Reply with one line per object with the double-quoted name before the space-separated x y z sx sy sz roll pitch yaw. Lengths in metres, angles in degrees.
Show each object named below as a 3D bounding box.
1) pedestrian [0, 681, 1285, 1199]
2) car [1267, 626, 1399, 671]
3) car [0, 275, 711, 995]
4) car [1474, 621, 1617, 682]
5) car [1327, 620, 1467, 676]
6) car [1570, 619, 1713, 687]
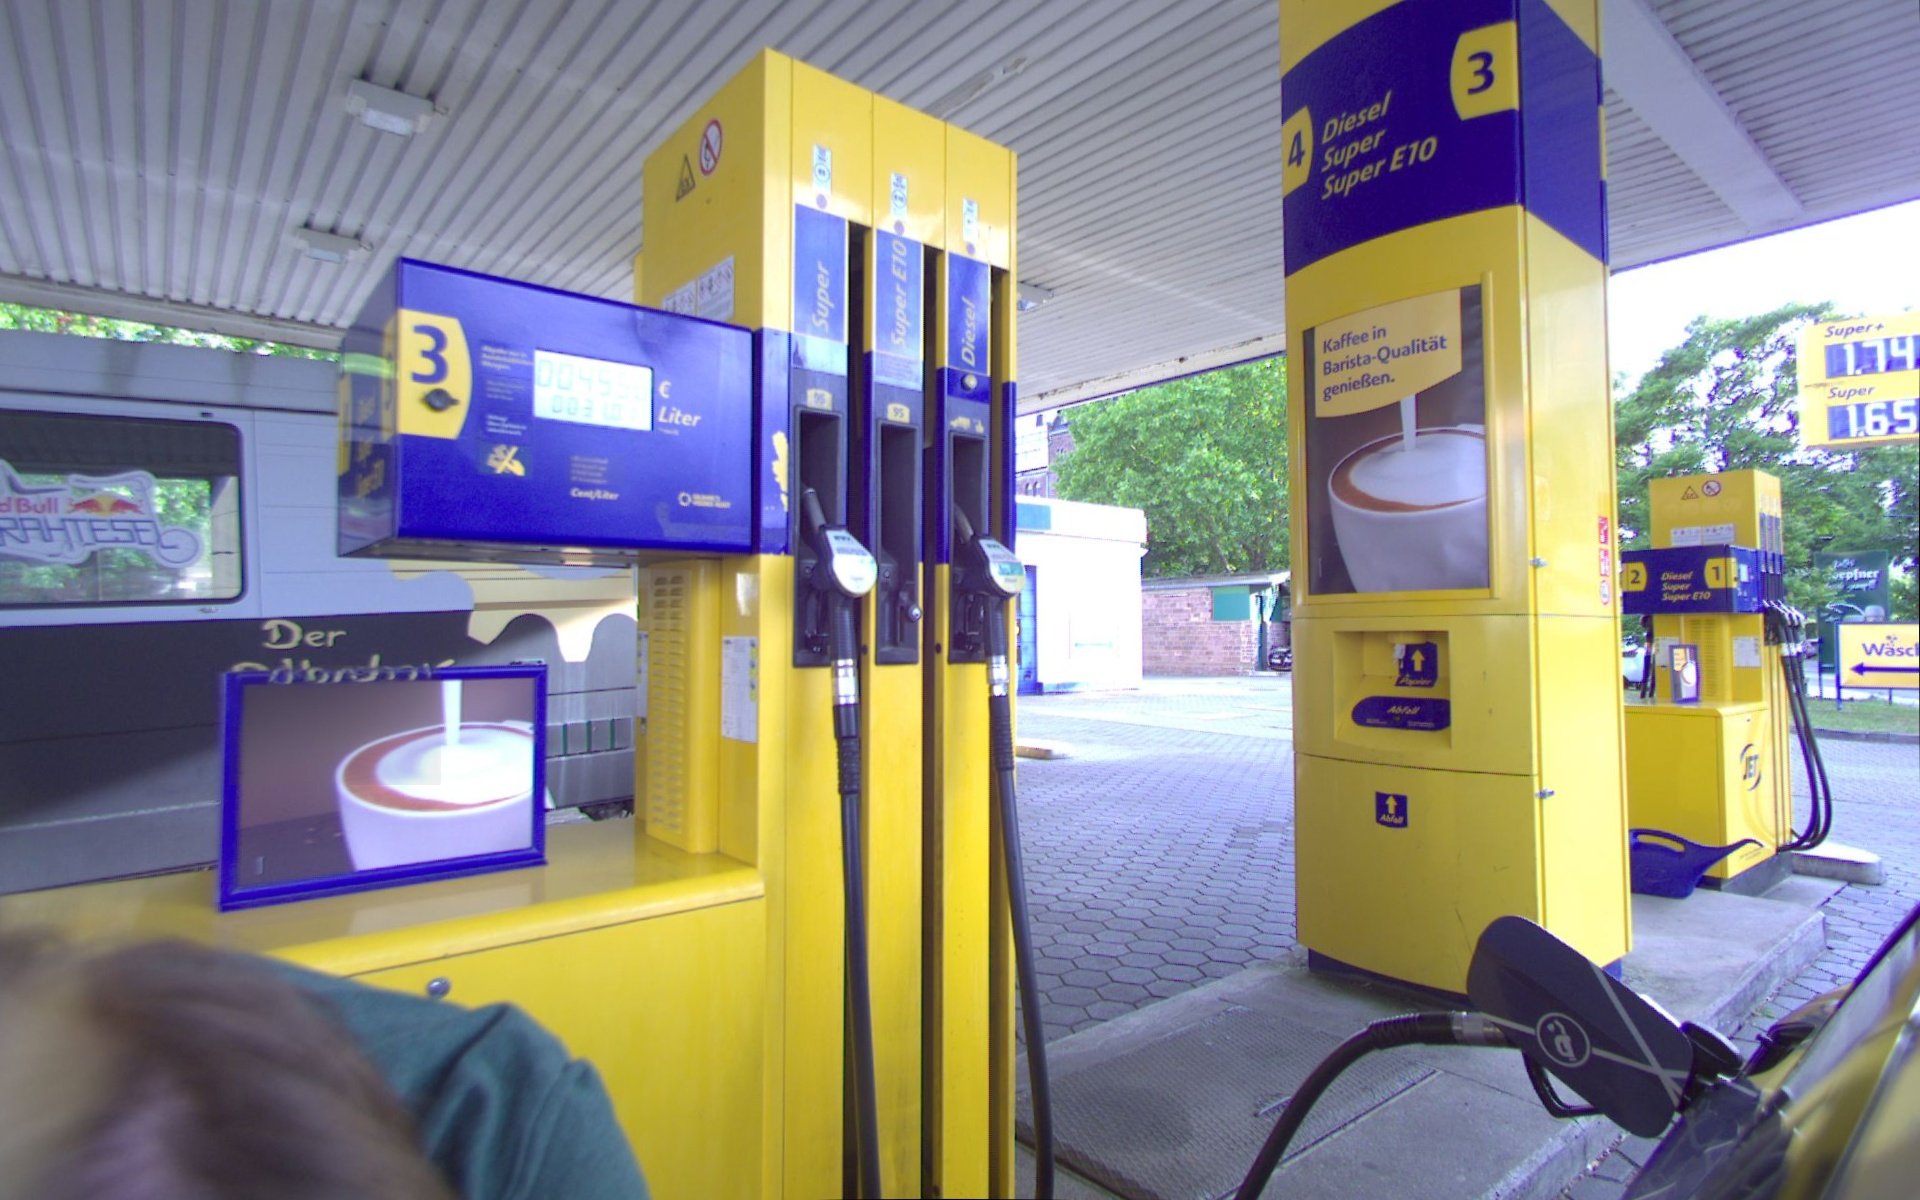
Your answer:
"pedestrian" -0.333 0.739 0.551 0.662 1.298 0.751 0 0 -41
"car" 12.694 1.644 34.431 4.303 1.393 1.777 2 -1 -28
"car" -4.108 0.150 4.898 5.197 2.726 2.258 1 -2 -39
"car" 17.850 1.581 30.804 4.303 1.622 1.776 4 -4 -28
"car" 13.890 1.521 32.140 4.303 1.622 1.777 2 -1 -28
"car" 18.359 1.438 27.205 4.308 1.622 1.774 4 -4 -35
